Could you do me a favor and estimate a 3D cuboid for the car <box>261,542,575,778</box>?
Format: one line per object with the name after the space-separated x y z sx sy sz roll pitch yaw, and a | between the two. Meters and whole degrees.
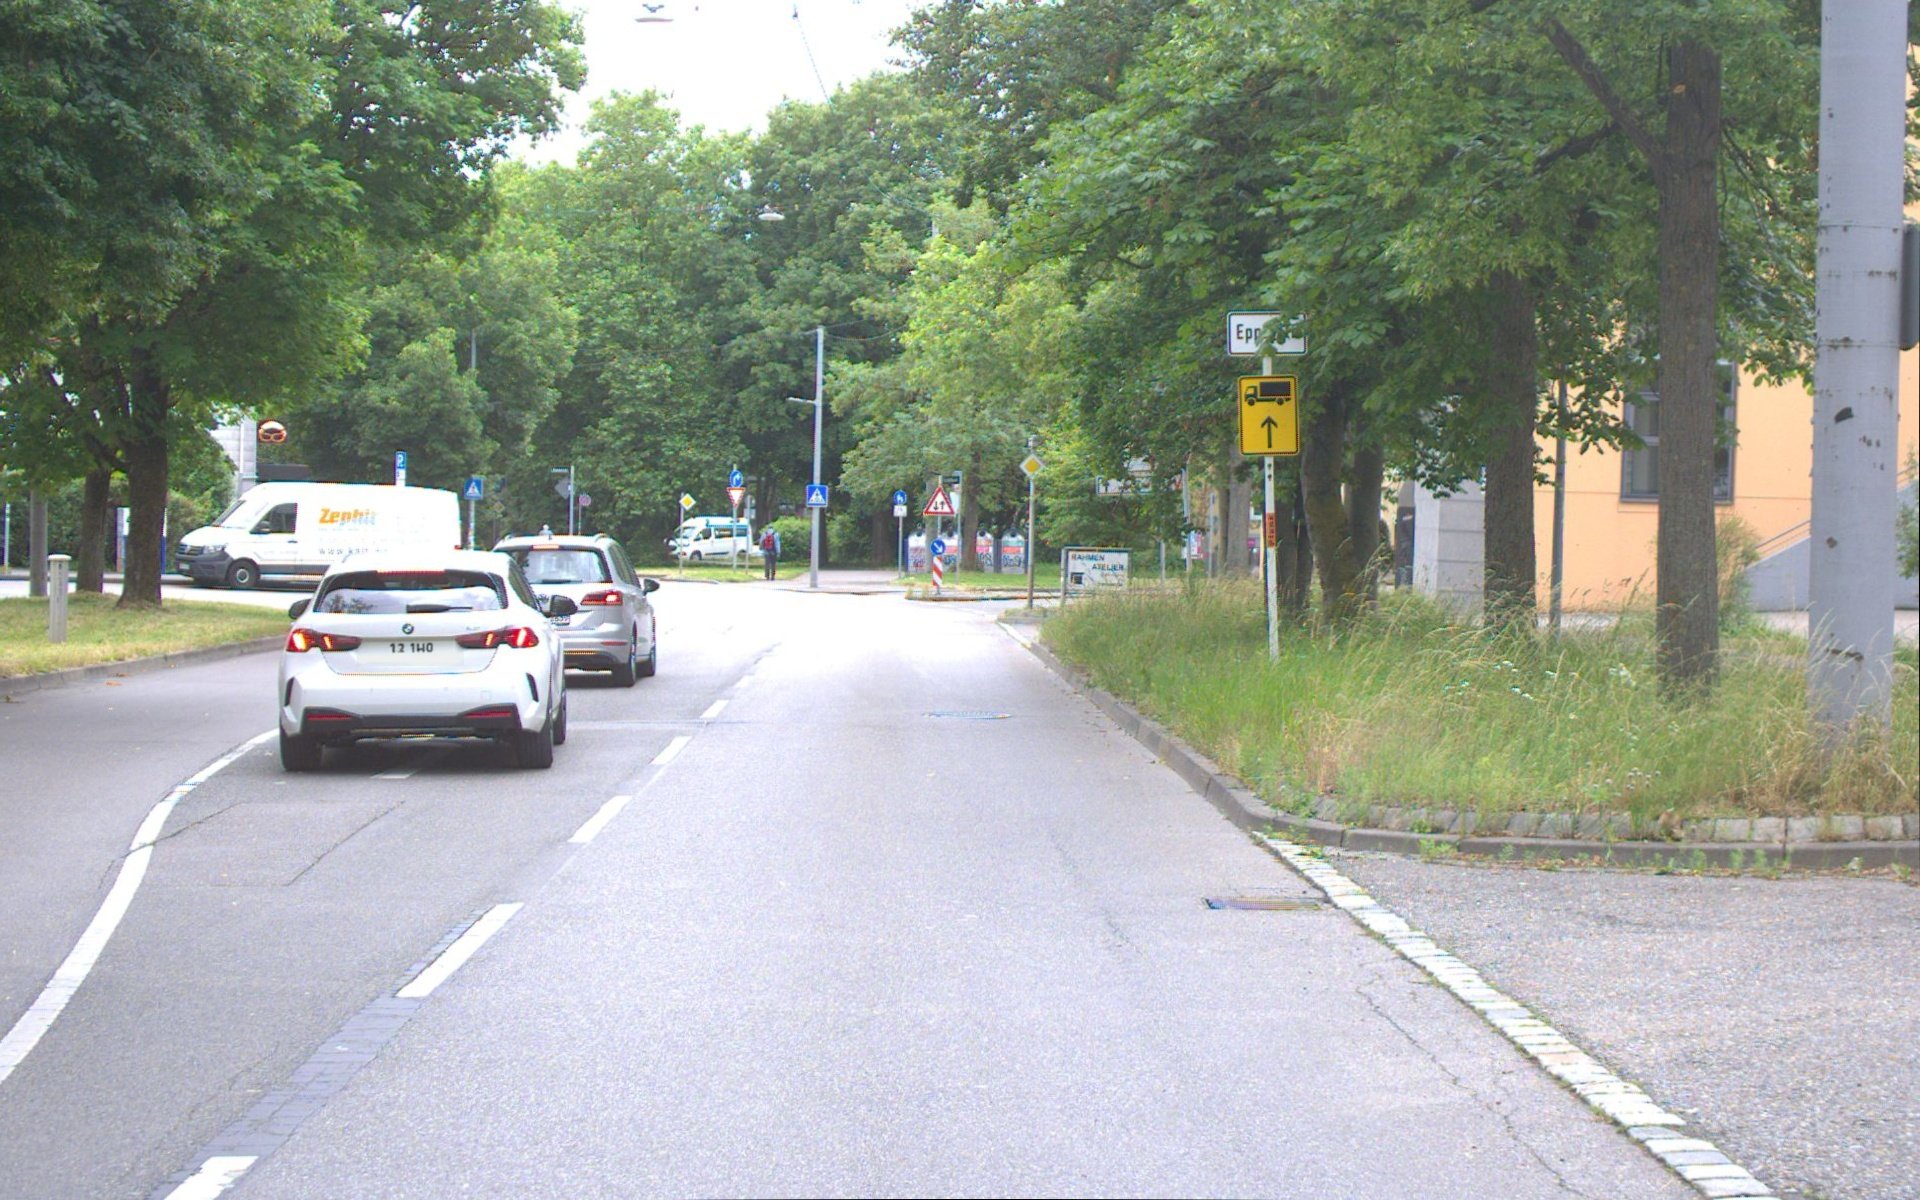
-3.725 0.359 24.241 1.795 1.512 4.207 0 1 -4 | car

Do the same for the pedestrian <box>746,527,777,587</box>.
-6.520 -1.413 112.874 0.923 1.865 1.019 -2 4 -5 | pedestrian

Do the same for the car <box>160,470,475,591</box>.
-15.017 -1.614 80.669 6.959 2.513 2.084 1 3 -38 | car

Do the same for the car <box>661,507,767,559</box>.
-12.325 -3.364 172.572 2.135 2.289 5.373 5 2 38 | car

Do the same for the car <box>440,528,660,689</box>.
-4.325 0.045 36.795 1.923 1.568 4.000 1 1 -1 | car
